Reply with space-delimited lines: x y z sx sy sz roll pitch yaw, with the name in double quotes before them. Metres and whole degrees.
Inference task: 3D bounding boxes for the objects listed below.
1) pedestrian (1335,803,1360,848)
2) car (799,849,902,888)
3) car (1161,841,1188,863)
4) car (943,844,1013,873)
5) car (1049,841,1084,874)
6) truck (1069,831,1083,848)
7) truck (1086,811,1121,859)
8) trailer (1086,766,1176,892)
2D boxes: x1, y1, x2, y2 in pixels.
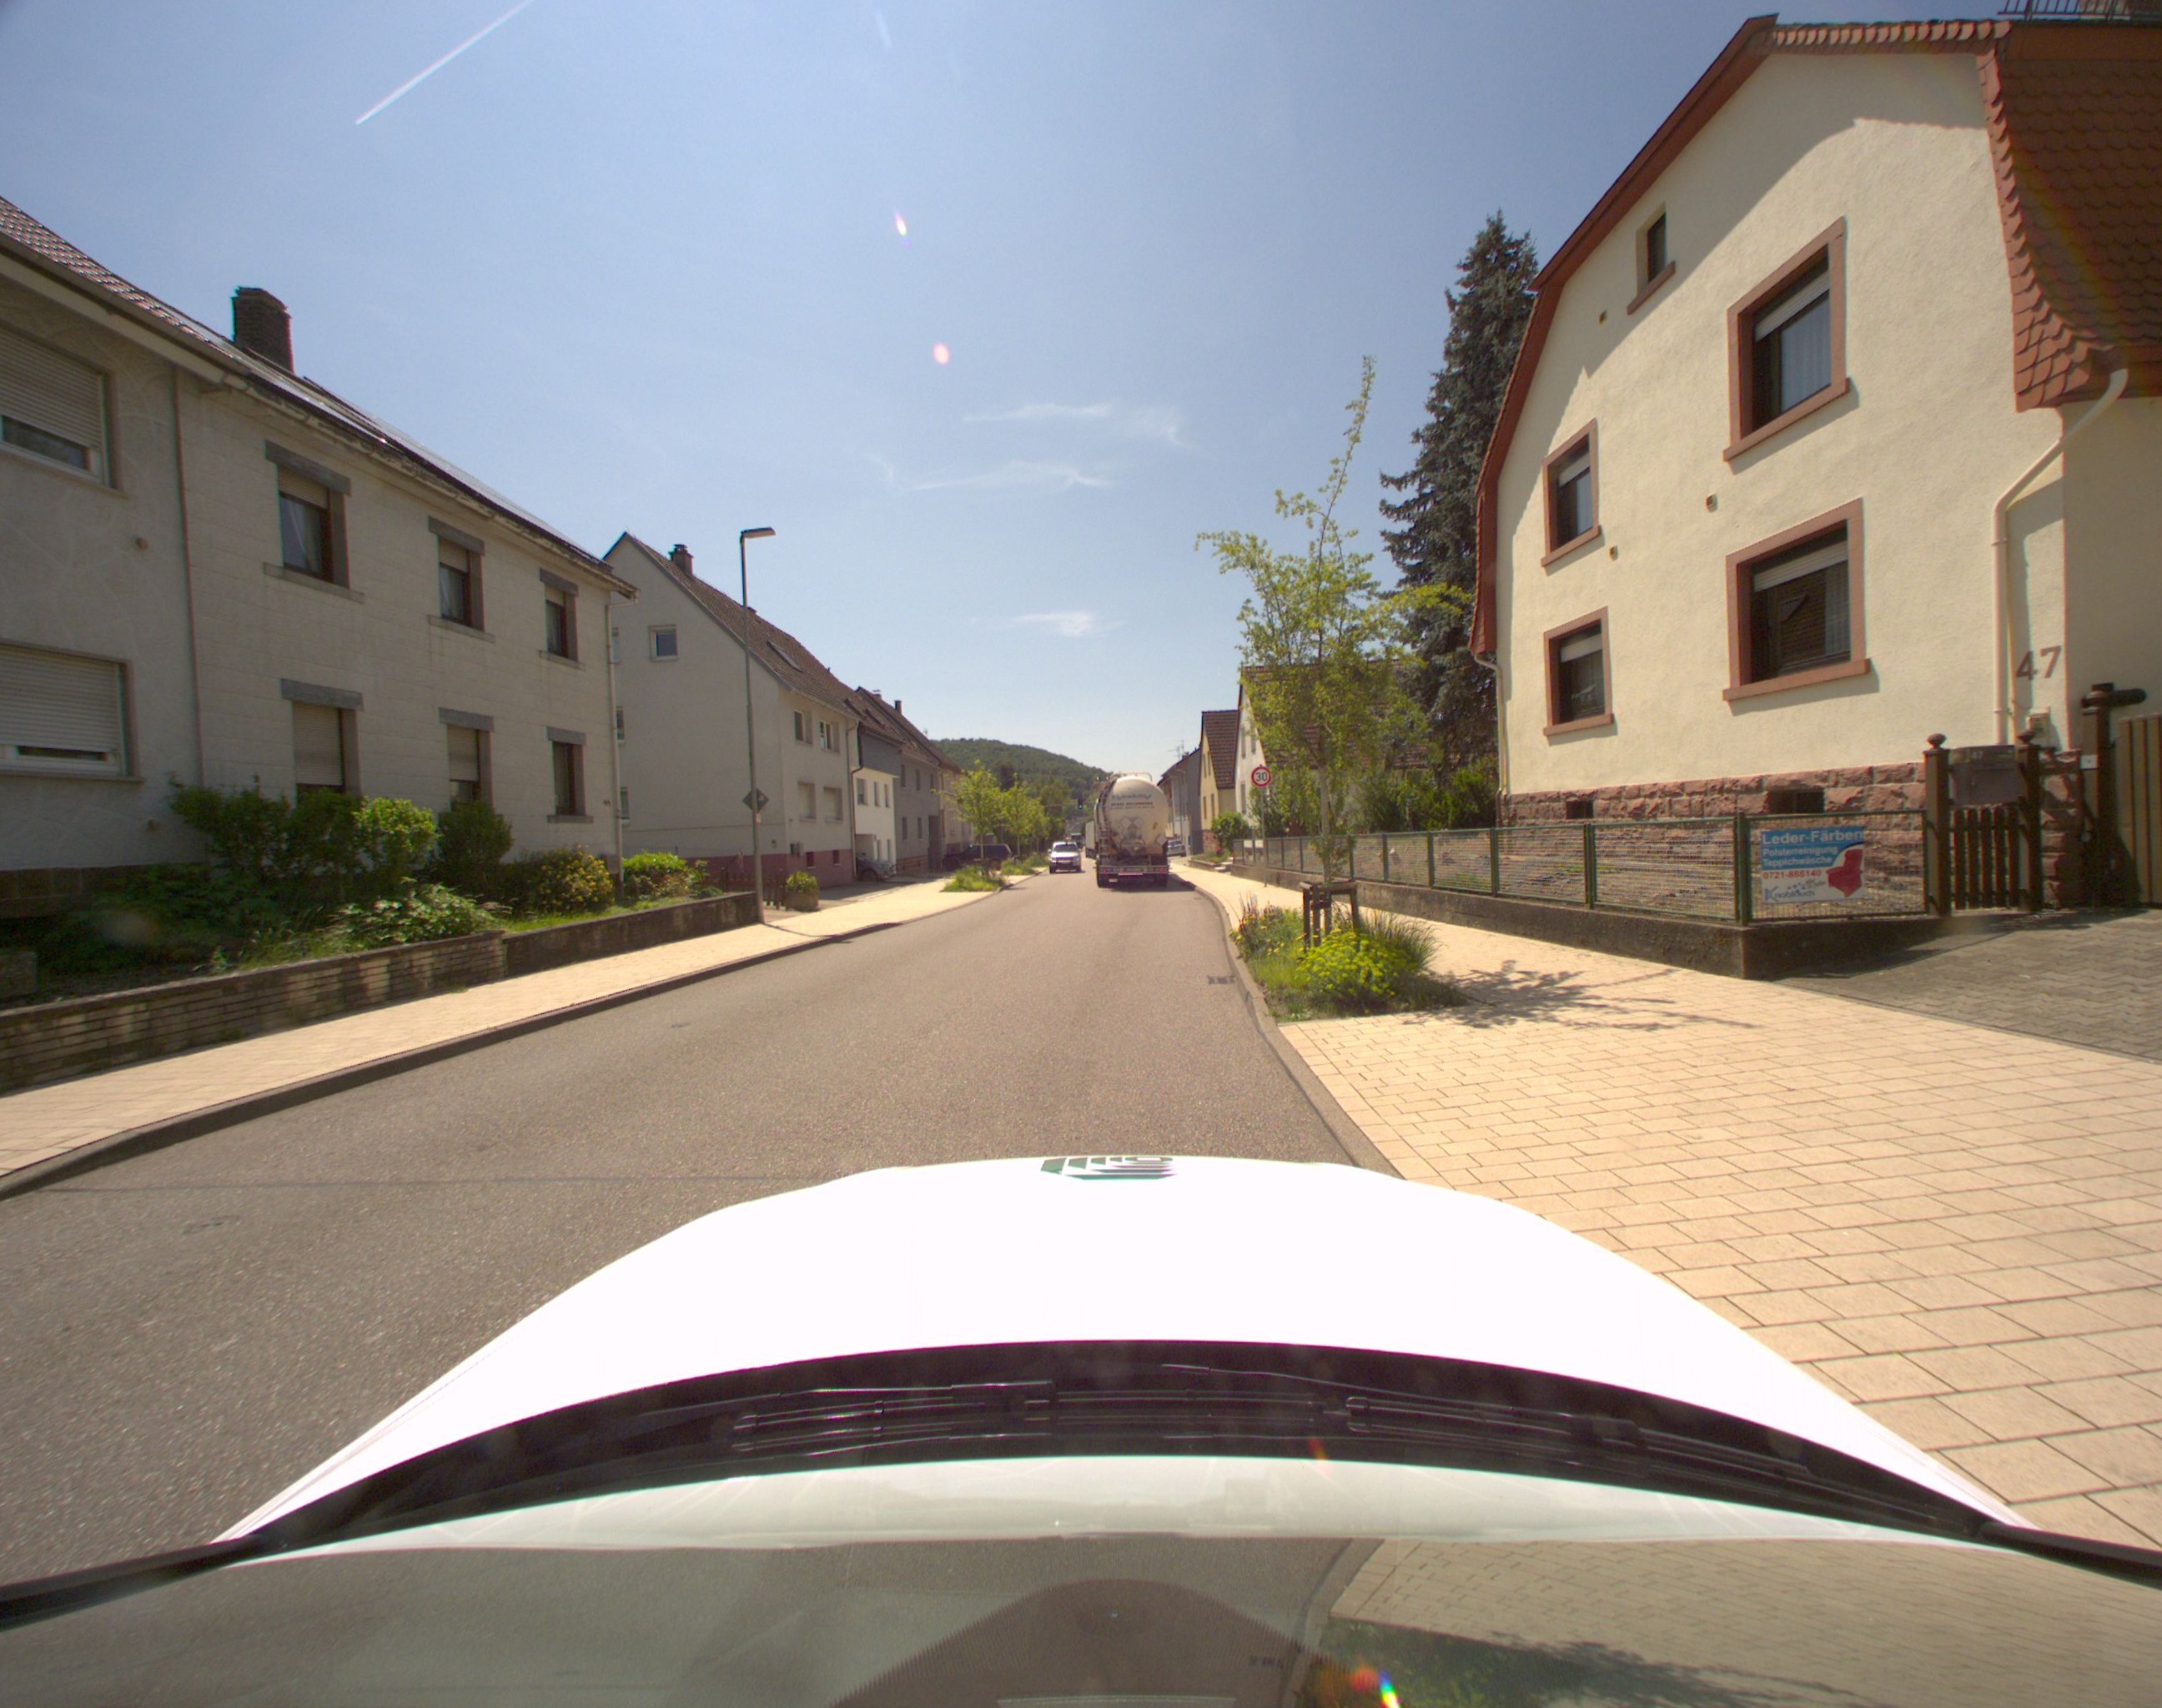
"pedestrian" 10.065 -1.075 30.773 0.602 1.615 0.552 -7 0 1
"car" -10.130 0.624 35.988 3.972 1.545 1.833 -2 0 1
"car" 7.421 -0.178 65.133 1.784 1.541 4.522 -4 0 3
"car" -6.887 0.276 54.737 4.380 1.750 1.878 -2 0 0
"car" -0.845 0.202 49.279 1.883 1.861 4.579 -1 0 1
"truck" -0.949 -3.014 169.746 2.719 3.371 8.636 -1 1 1
"truck" 2.288 -1.883 87.168 2.840 4.679 11.327 -1 -1 -3
"trailer" 1.726 -0.866 31.421 2.786 4.000 10.326 -2 1 1
